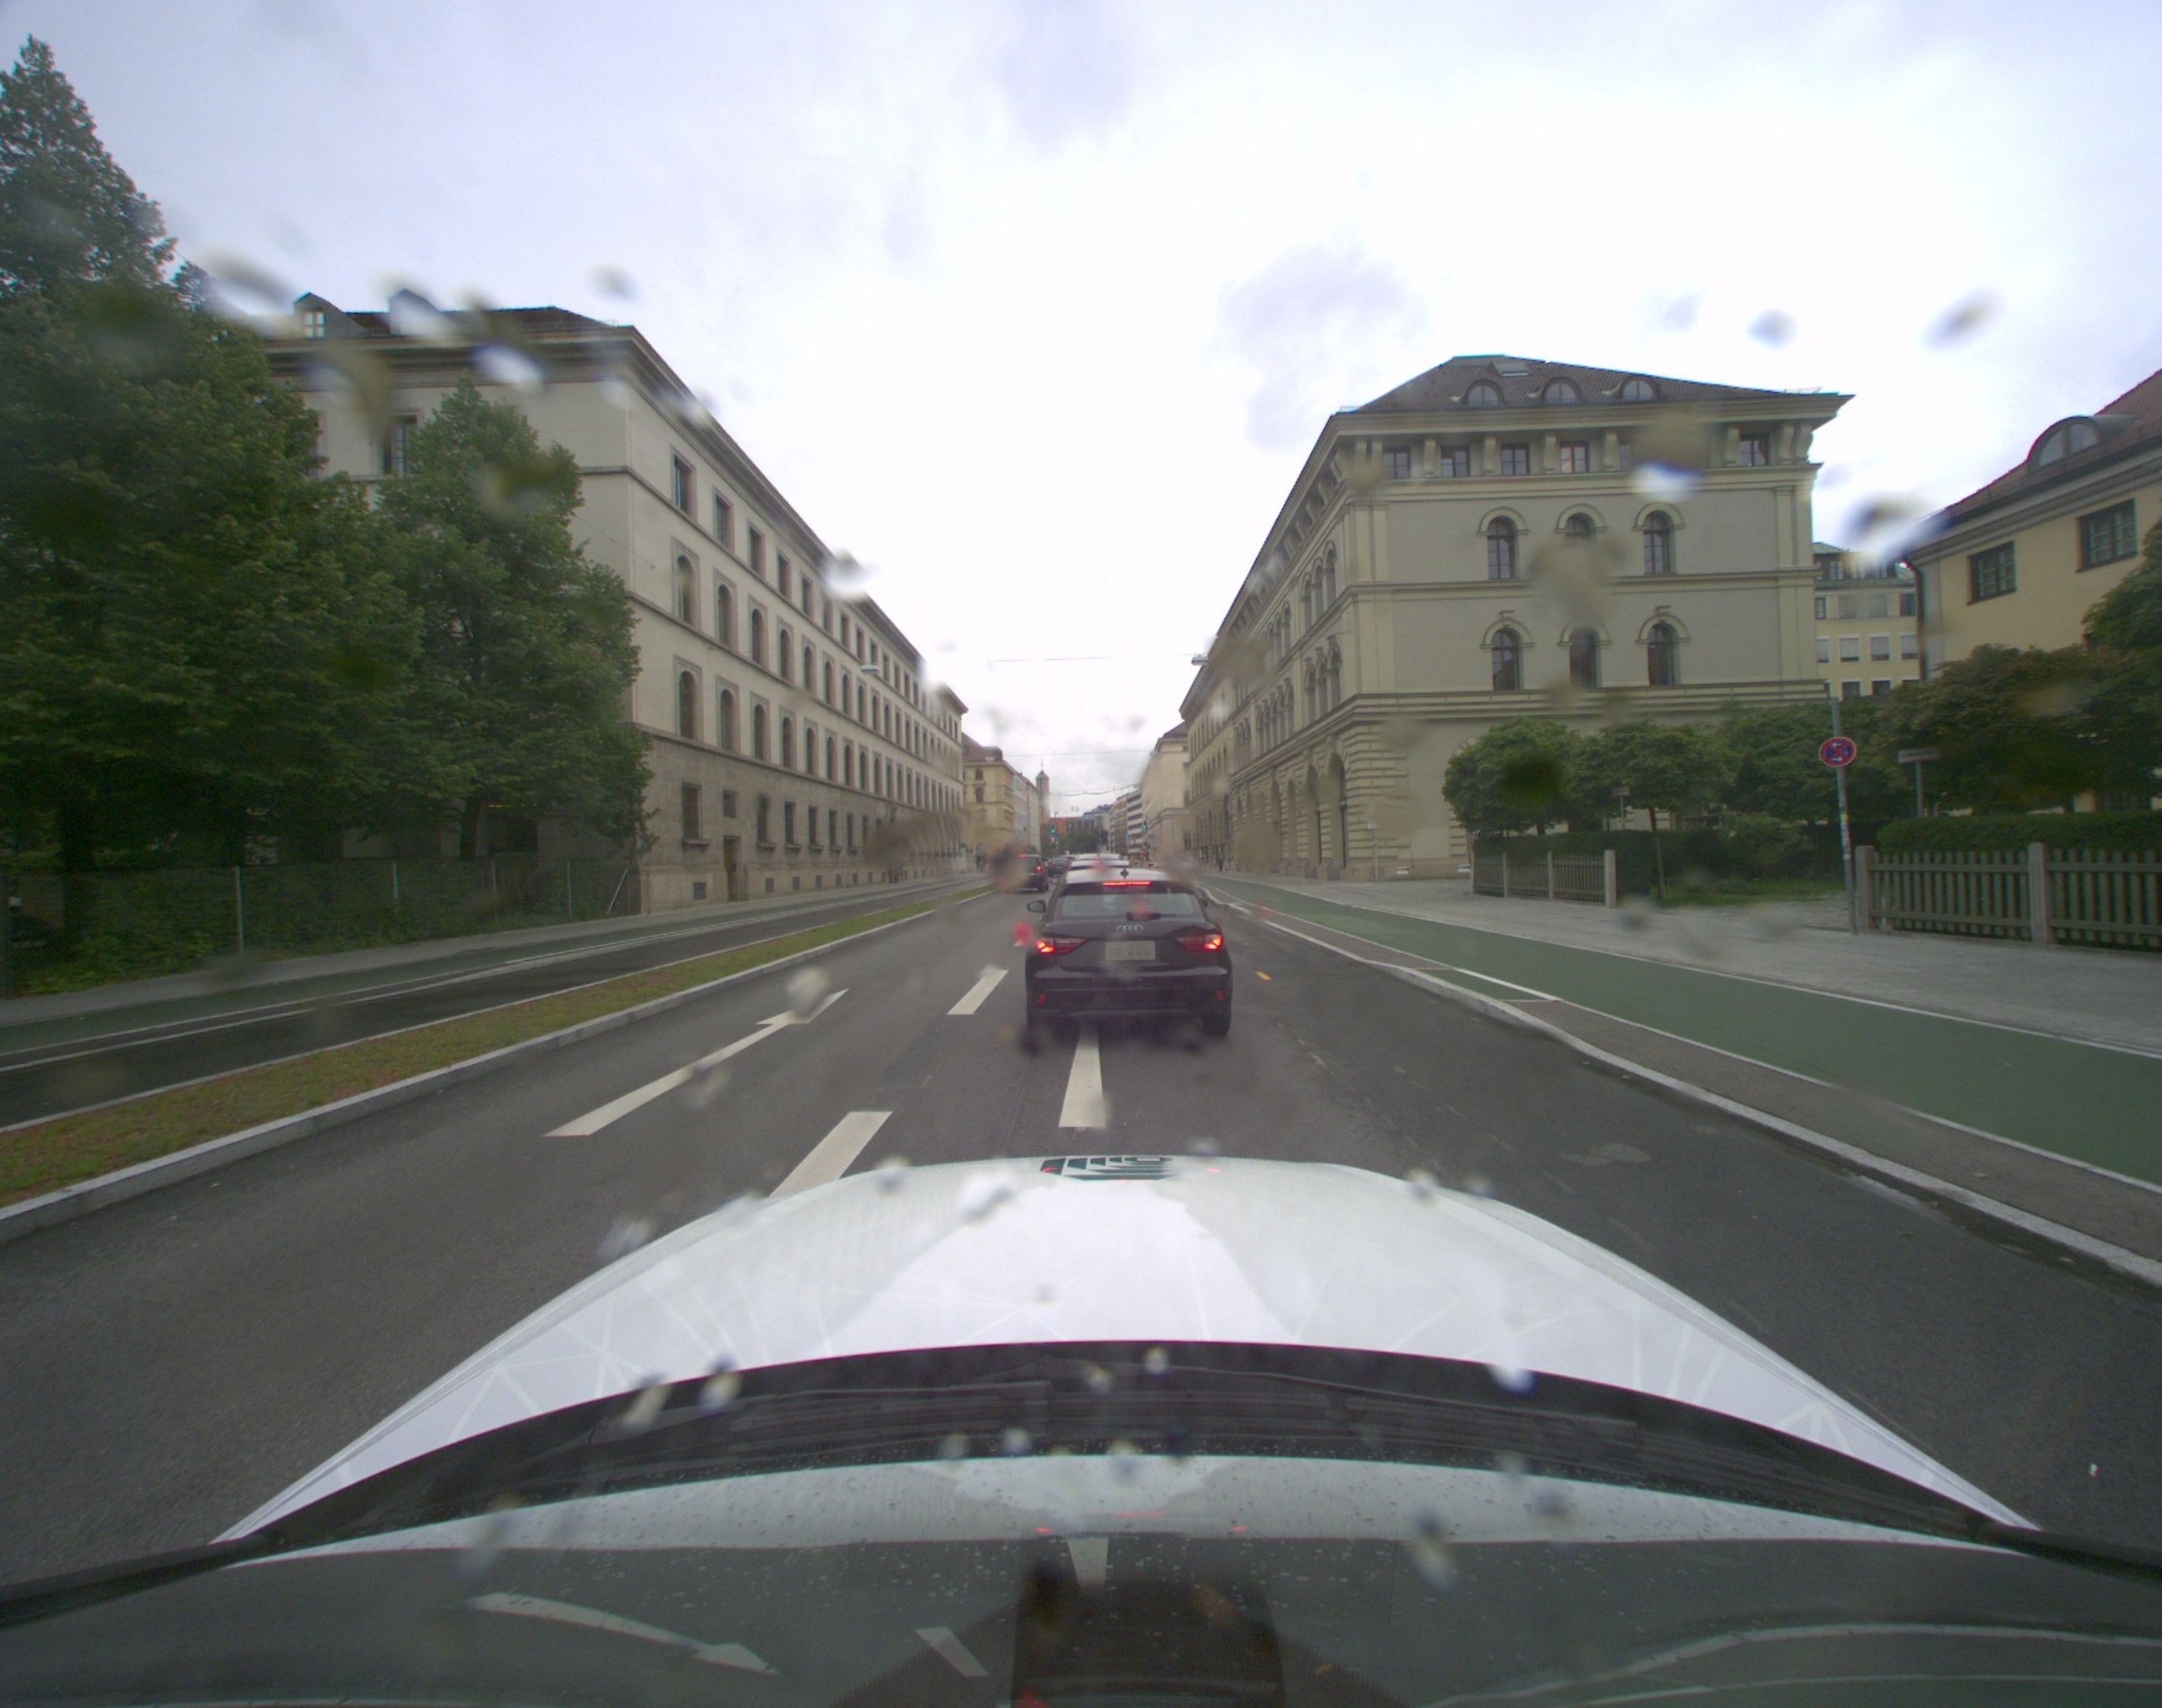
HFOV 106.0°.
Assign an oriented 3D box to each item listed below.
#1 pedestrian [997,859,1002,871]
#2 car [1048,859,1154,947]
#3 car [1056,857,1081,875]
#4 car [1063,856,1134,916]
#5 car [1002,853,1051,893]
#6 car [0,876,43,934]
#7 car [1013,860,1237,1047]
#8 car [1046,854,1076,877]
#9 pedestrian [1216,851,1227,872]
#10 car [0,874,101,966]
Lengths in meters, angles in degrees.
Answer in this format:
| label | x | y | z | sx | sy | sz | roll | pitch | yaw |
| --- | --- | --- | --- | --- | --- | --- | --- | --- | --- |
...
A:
| label | x | y | z | sx | sy | sz | roll | pitch | yaw |
| --- | --- | --- | --- | --- | --- | --- | --- | --- | --- |
| pedestrian | -12.706 | 1.739 | 126.328 | 0.653 | 1.805 | 0.727 | -2 | 0 | 1 |
| car | 0.381 | 0.814 | 15.384 | 1.724 | 1.403 | 4.001 | 0 | 0 | 1 |
| car | -1.063 | 1.040 | 71.527 | 1.986 | 1.444 | 4.002 | -2 | 0 | 2 |
| car | 0.488 | 0.799 | 22.025 | 1.724 | 1.461 | 4.001 | 0 | 0 | 1 |
| car | -2.299 | 0.793 | 35.430 | 1.758 | 1.616 | 4.031 | -1 | 0 | 1 |
| car | -31.700 | 1.493 | 22.170 | 1.659 | 1.640 | 4.001 | -1 | 0 | 1 |
| car | 0.391 | 0.788 | 8.295 | 1.724 | 1.403 | 4.001 | 0 | 0 | 1 |
| car | -1.492 | 0.871 | 62.463 | 1.986 | 1.627 | 4.002 | -2 | 0 | 2 |
| pedestrian | 11.080 | 0.579 | 64.425 | 0.707 | 1.618 | 0.754 | -2 | 0 | 1 |
| car | -21.859 | 1.303 | 15.484 | 4.247 | 1.649 | 1.805 | -2 | 0 | 1 |
